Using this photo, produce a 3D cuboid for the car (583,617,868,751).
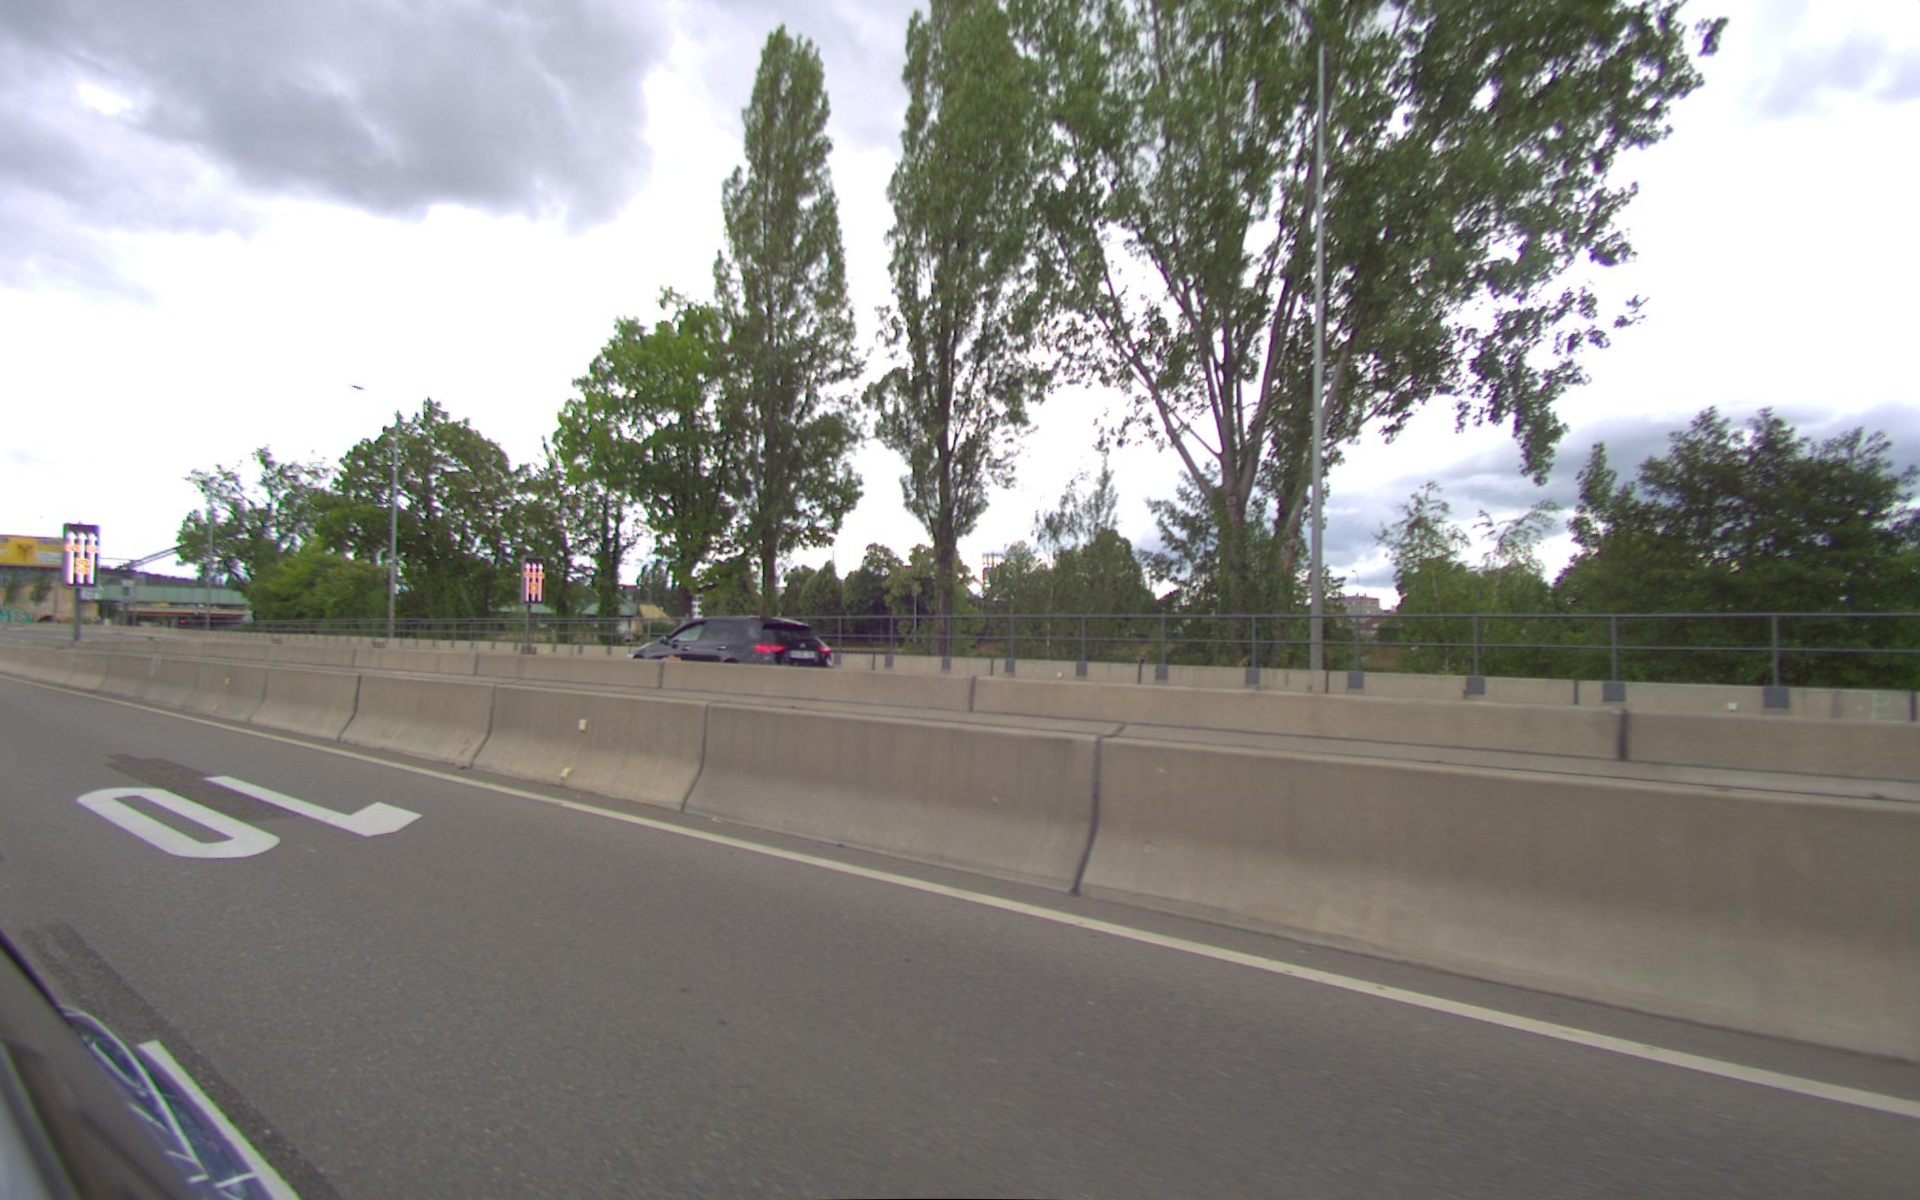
[{"bbox_3d":[-4.176,1.298,17.552,4.999,1.940,2.305,-1,0,41],"label":"car"}]
